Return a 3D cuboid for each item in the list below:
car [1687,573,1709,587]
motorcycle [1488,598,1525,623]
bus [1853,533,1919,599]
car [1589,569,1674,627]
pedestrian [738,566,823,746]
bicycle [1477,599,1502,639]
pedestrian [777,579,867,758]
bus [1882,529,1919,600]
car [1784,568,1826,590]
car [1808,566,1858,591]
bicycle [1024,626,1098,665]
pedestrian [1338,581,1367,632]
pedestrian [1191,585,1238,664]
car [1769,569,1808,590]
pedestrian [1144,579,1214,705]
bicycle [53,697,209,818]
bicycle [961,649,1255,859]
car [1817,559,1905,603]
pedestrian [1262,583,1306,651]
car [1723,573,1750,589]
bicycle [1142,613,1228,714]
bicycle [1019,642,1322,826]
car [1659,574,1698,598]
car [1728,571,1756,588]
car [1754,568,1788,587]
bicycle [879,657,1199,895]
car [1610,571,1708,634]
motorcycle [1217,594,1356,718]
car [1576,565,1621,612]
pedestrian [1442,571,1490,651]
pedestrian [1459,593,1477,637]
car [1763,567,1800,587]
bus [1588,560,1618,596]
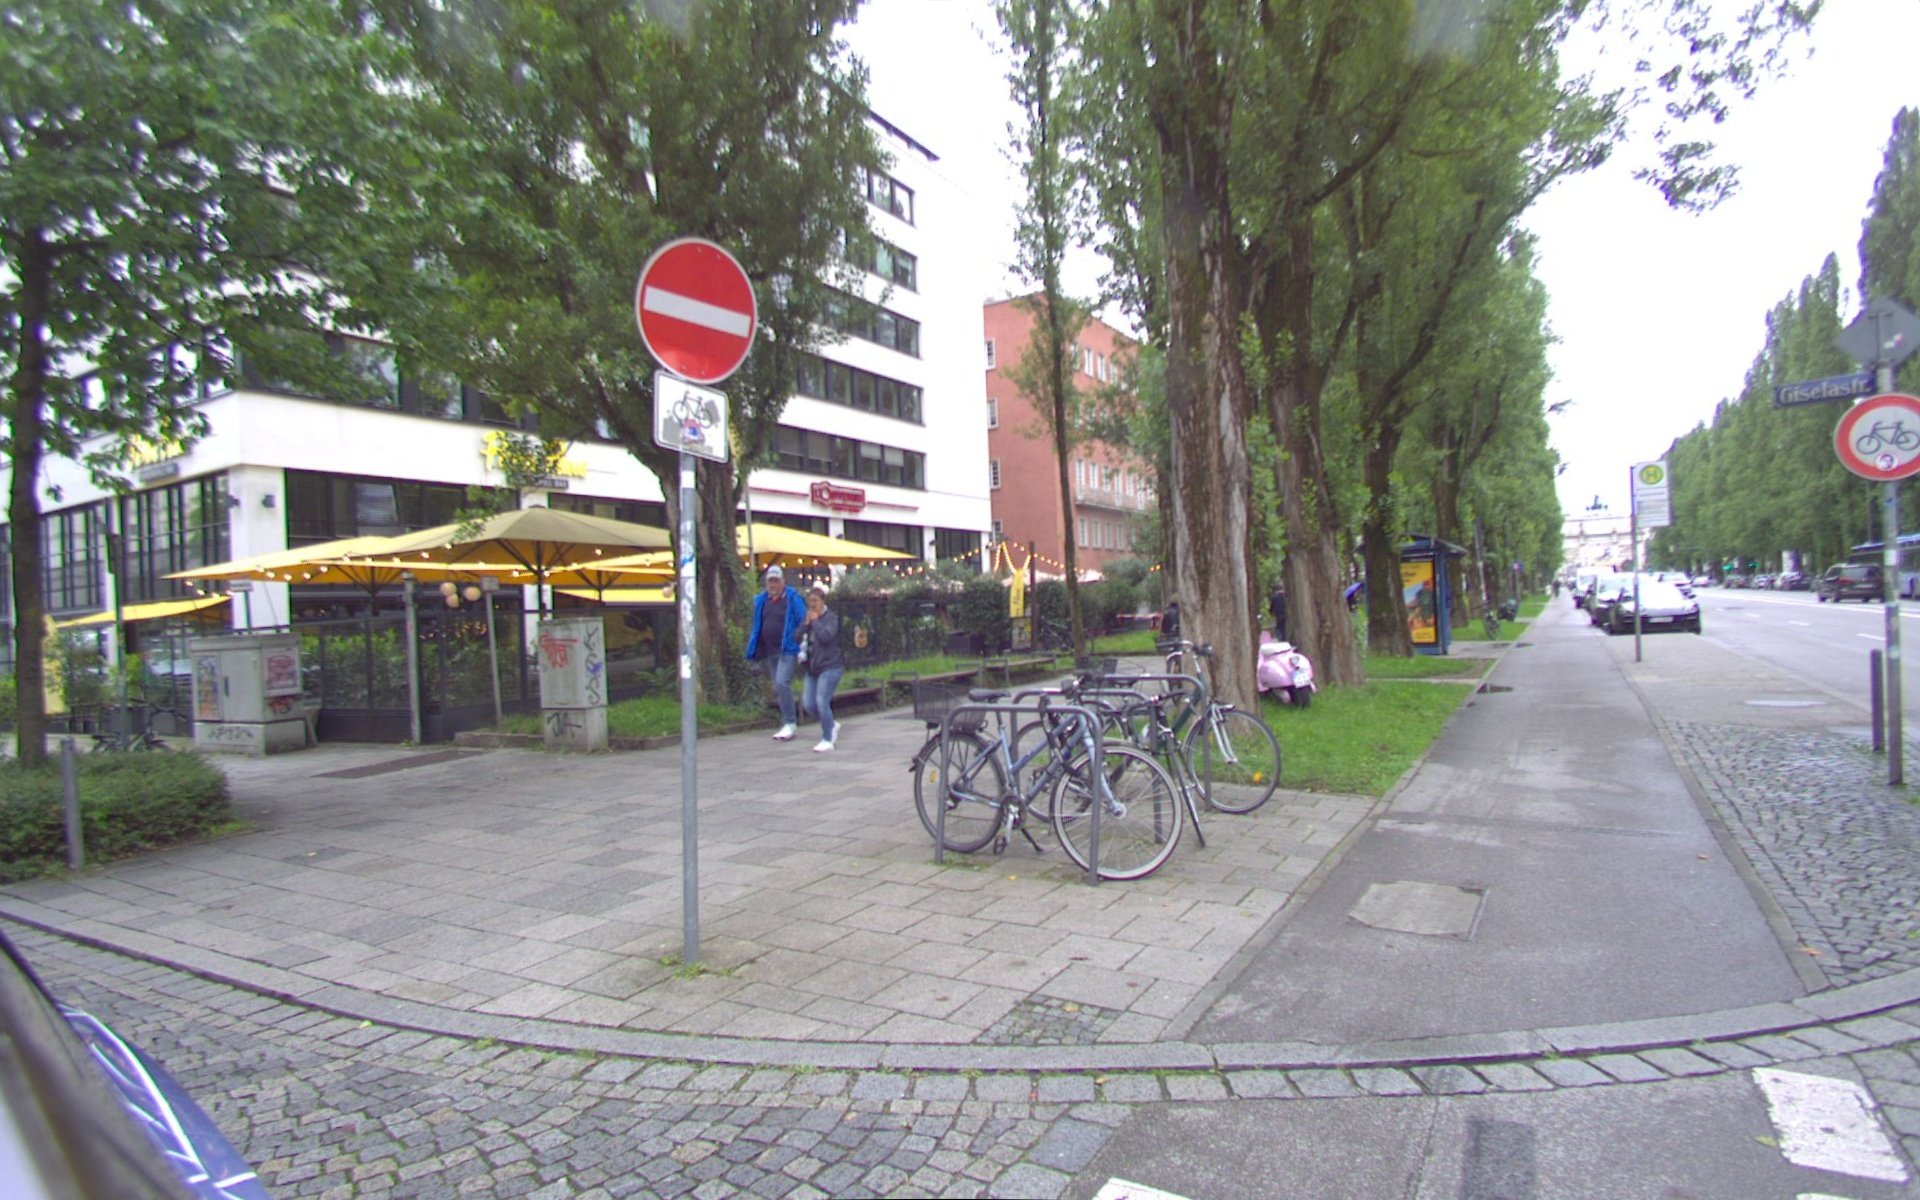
[{"bbox_3d":[99.796,-2.678,136.860,1.993,1.735,4.302,-2,0,32],"label":"car"},{"bbox_3d":[21.528,0.433,39.917,0.460,0.945,1.663,-3,-1,-2],"label":"motorcycle"},{"bbox_3d":[48.658,-1.706,51.829,2.919,3.075,9.684,-4,-1,34],"label":"bus"},{"bbox_3d":[22.953,-0.031,34.734,2.004,1.771,3.960,-4,-3,29],"label":"car"},{"bbox_3d":[-1.998,0.611,11.308,0.695,1.922,0.643,-3,-1,7],"label":"pedestrian"},{"bbox_3d":[14.631,0.515,27.964,0.551,1.030,1.746,-3,-1,28],"label":"bicycle"},{"bbox_3d":[-1.396,0.682,10.320,0.695,1.740,0.643,-3,-1,7],"label":"pedestrian"},{"bbox_3d":[44.632,-1.638,45.756,2.919,3.075,8.420,-4,-1,34],"label":"bus"},{"bbox_3d":[70.816,-1.743,84.863,1.993,1.735,4.764,-2,0,32],"label":"car"},{"bbox_3d":[65.053,-1.599,75.481,1.993,1.735,4.764,-2,0,32],"label":"car"},{"bbox_3d":[2.612,1.173,26.263,1.794,0.919,0.614,-4,-1,29],"label":"bicycle"},{"bbox_3d":[13.683,0.228,35.316,0.734,1.705,0.639,-3,-1,35],"label":"pedestrian"},{"bbox_3d":[5.615,0.533,22.330,0.734,1.705,0.639,-3,-1,35],"label":"pedestrian"},{"bbox_3d":[73.560,-1.801,89.900,1.993,1.735,4.302,-2,0,32],"label":"car"},{"bbox_3d":[3.223,0.595,14.874,0.751,1.786,0.697,-2,0,36],"label":"pedestrian"},{"bbox_3d":[-8.006,1.482,9.756,1.755,1.030,0.548,-3,-1,30],"label":"bicycle"},{"bbox_3d":[0.853,0.880,6.158,1.700,1.101,0.485,-4,-1,36],"label":"bicycle"},{"bbox_3d":[39.106,-0.826,44.047,1.993,1.735,4.764,-2,0,32],"label":"car"},{"bbox_3d":[8.586,0.439,26.789,0.855,1.724,0.949,-3,-1,29],"label":"pedestrian"},{"bbox_3d":[90.509,-2.229,118.037,1.993,1.735,4.302,-2,0,32],"label":"car"},{"bbox_3d":[2.973,0.800,13.280,0.581,1.197,1.599,-3,-1,31],"label":"bicycle"},{"bbox_3d":[1.396,0.878,7.001,1.980,1.101,0.485,-4,-1,37],"label":"bicycle"},{"bbox_3d":[55.051,-1.091,77.577,2.006,1.592,3.957,-6,-2,32],"label":"car"},{"bbox_3d":[87.333,-2.297,113.062,1.993,1.735,4.302,-2,0,32],"label":"car"},{"bbox_3d":[80.013,-2.222,99.906,1.993,1.735,4.302,-2,0,32],"label":"car"},{"bbox_3d":[0.381,0.894,5.531,1.700,1.101,0.485,-4,-1,36],"label":"bicycle"},{"bbox_3d":[19.828,0.052,28.864,2.006,1.592,3.957,-3,-1,32],"label":"car"},{"bbox_3d":[3.820,0.605,12.024,0.619,1.204,1.997,-3,4,-13],"label":"motorcycle"},{"bbox_3d":[38.948,-0.689,61.852,2.005,2.652,5.937,-3,-1,31],"label":"car"},{"bbox_3d":[12.049,0.263,24.103,0.885,1.857,0.762,-3,-1,24],"label":"pedestrian"},{"bbox_3d":[20.239,0.606,40.329,0.516,1.705,0.480,-3,-1,35],"label":"pedestrian"},{"bbox_3d":[76.069,-2.115,93.766,1.993,1.735,4.302,-2,0,32],"label":"car"},{"bbox_3d":[80.672,-2.692,127.023,2.640,4.143,9.694,-4,-1,31],"label":"bus"}]
